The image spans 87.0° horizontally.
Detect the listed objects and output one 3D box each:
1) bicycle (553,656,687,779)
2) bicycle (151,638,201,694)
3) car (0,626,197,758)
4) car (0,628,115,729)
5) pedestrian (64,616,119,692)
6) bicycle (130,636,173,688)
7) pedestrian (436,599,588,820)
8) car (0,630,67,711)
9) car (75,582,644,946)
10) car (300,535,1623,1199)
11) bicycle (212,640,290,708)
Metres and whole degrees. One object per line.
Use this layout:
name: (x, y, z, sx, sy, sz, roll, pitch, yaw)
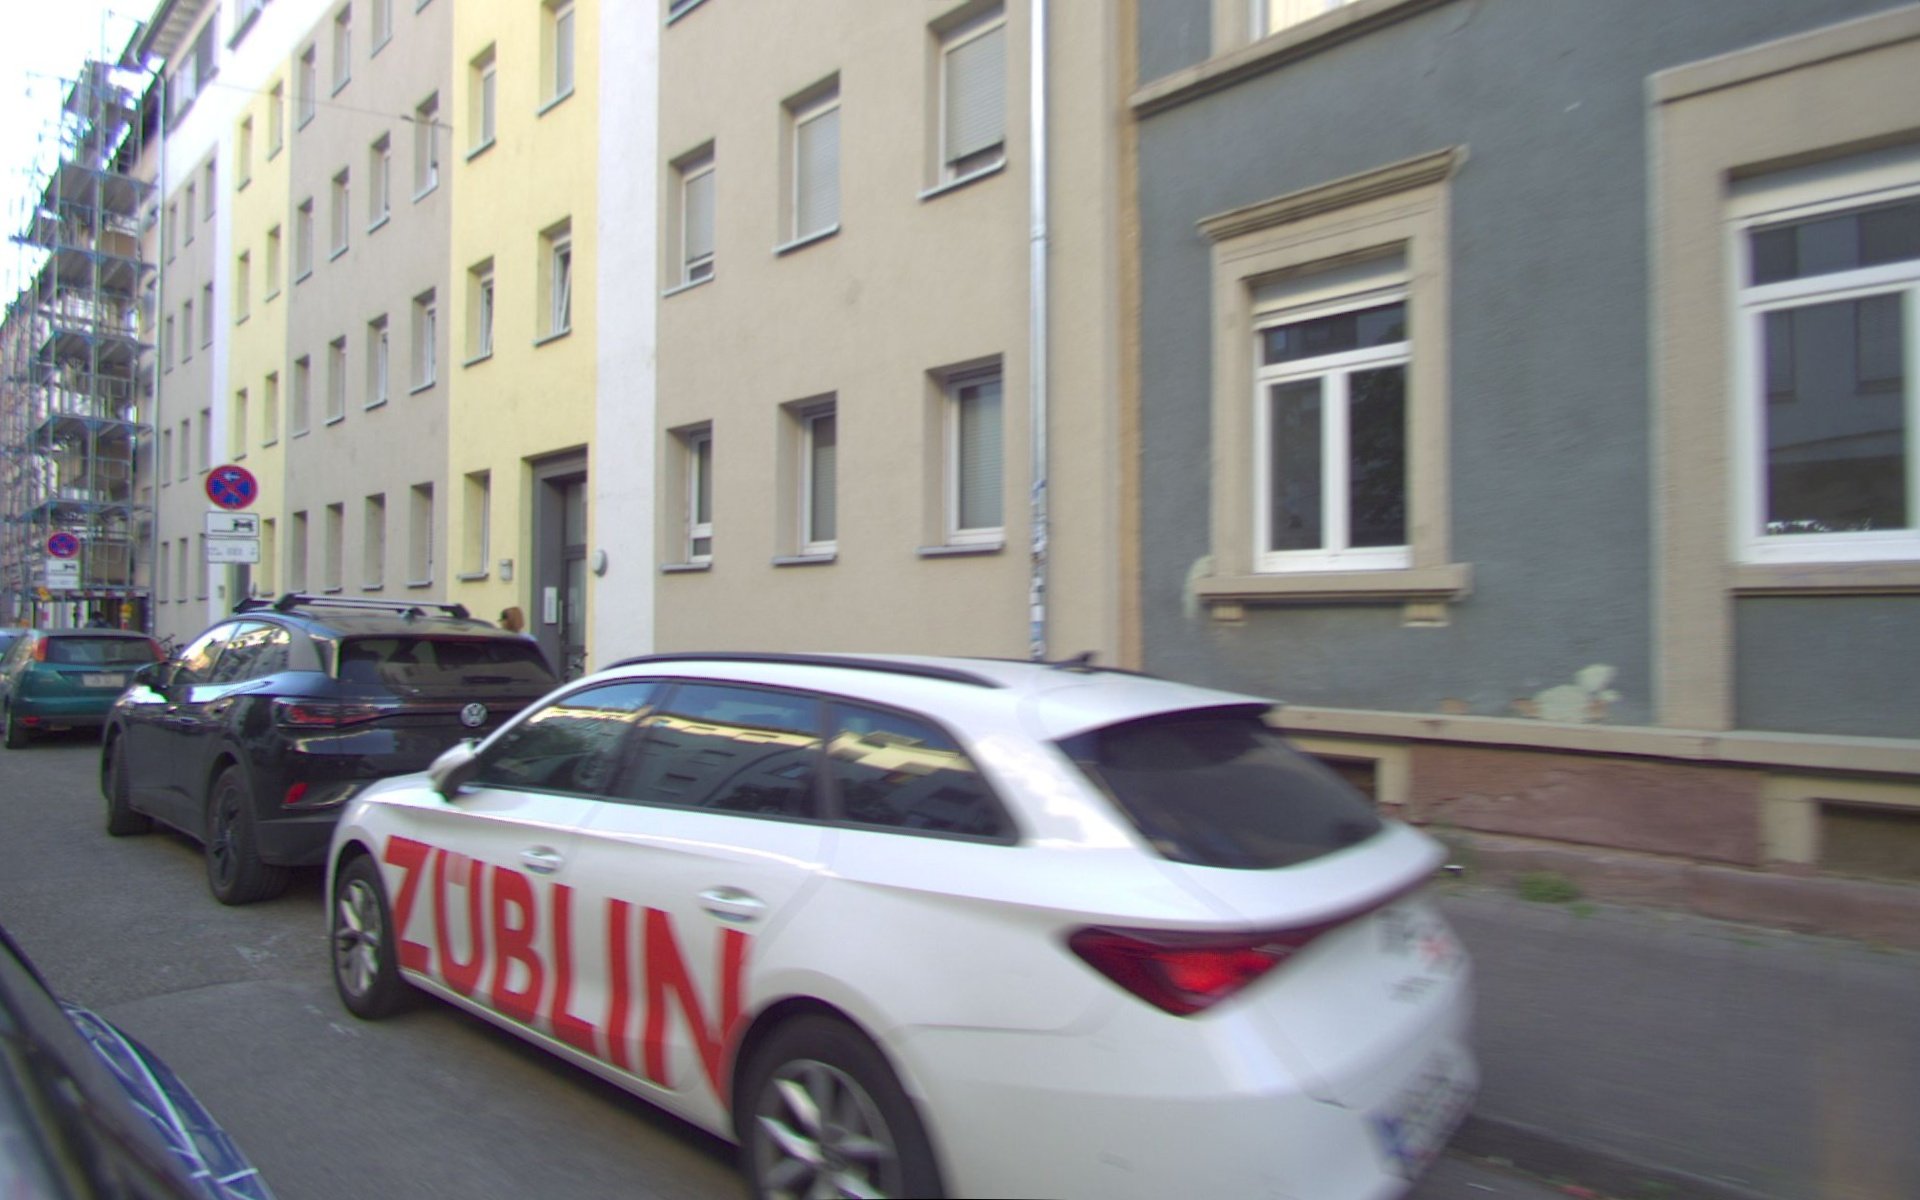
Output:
bicycle: (-3.411, 1.123, 10.074, 1.751, 1.082, 0.446, -1, -1, 41)
bicycle: (-17.515, 1.457, 22.600, 1.730, 1.177, 0.473, -1, 0, 39)
car: (-11.986, 1.137, 13.659, 4.418, 1.500, 1.760, -1, -4, 41)
car: (-15.738, 1.223, 16.738, 4.614, 1.500, 1.903, -1, -4, 40)
pedestrian: (-20.905, 1.288, 24.366, 1.091, 1.774, 0.780, -2, -4, 41)
bicycle: (-19.498, 1.483, 24.381, 1.814, 1.177, 0.400, -1, 0, 39)
pedestrian: (-3.962, 0.923, 8.943, 1.091, 1.804, 0.780, -2, -4, 41)
car: (-19.725, 1.352, 20.330, 4.613, 1.500, 1.903, -1, -4, 39)
car: (-4.262, 0.871, 6.878, 4.465, 1.676, 1.901, -2, -5, 40)
car: (-0.402, 0.810, 3.463, 4.263, 1.572, 1.901, -2, -5, 40)
bicycle: (-13.036, 1.340, 18.579, 1.922, 1.177, 0.604, -1, -4, 39)
